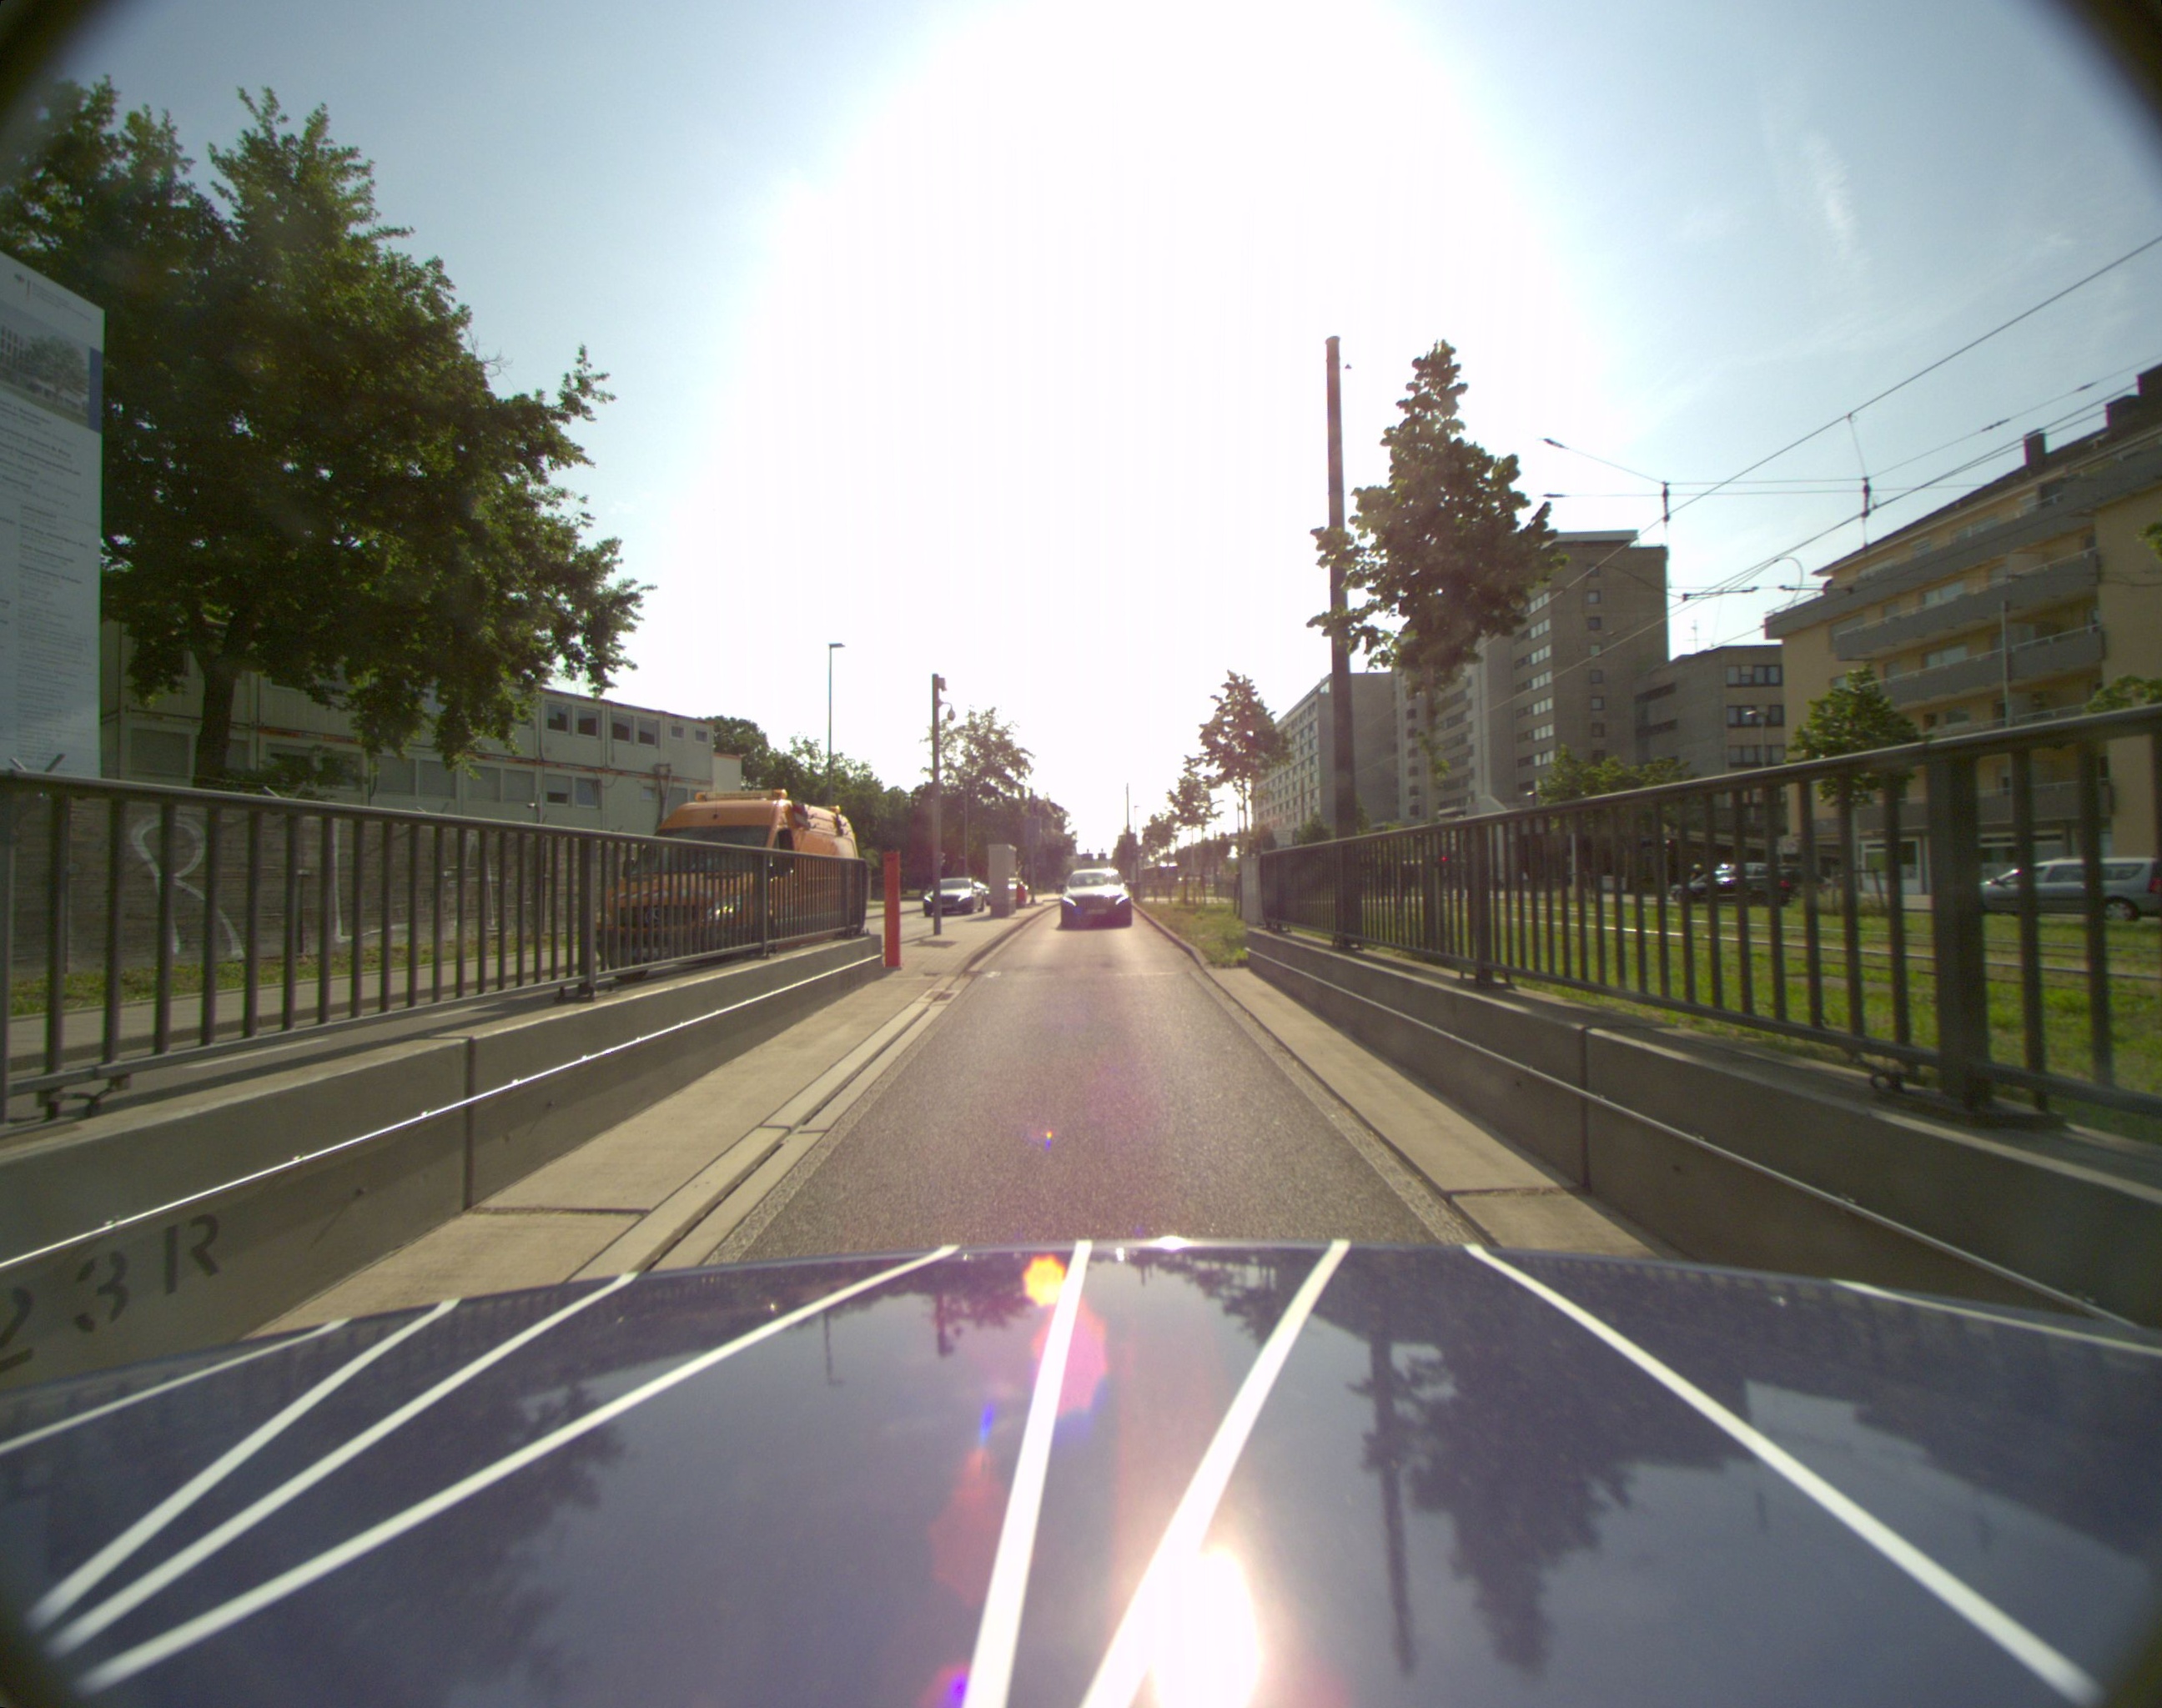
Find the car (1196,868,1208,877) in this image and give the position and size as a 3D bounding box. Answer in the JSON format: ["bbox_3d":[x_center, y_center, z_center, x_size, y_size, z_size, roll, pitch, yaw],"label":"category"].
[{"bbox_3d":[21.573,3.299,135.240,1.811,1.471,4.002,-1,-1,4],"label":"car"}]

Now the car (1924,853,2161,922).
[{"bbox_3d":[25.373,0.812,19.655,1.999,1.567,4.528,-1,-1,-2],"label":"car"}]

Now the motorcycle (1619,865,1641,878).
[{"bbox_3d":[44.967,1.447,62.252,0.494,1.011,1.947,-1,-1,2],"label":"motorcycle"}]

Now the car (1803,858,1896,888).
[{"bbox_3d":[44.722,1.110,44.247,3.632,1.573,1.710,-1,-4,-2],"label":"car"}]

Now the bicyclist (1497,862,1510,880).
[{"bbox_3d":[34.605,1.401,62.186,0.619,1.491,0.988,-2,-2,45],"label":"bicyclist"}]

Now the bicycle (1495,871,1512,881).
[{"bbox_3d":[34.564,1.825,62.120,2.007,0.788,0.627,0,-2,-45],"label":"bicycle"}]

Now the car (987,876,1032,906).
[{"bbox_3d":[-3.995,2.070,43.270,1.897,1.561,4.252,-3,-1,2],"label":"car"}]

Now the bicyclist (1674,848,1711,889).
[{"bbox_3d":[27.448,0.653,34.123,0.671,1.794,1.083,-1,-1,-4],"label":"bicyclist"}]

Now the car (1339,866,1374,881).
[{"bbox_3d":[31.929,2.276,87.914,4.119,1.596,1.875,0,-1,-38],"label":"car"}]

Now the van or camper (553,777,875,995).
[{"bbox_3d":[-5.154,0.430,12.011,1.991,2.457,6.062,-3,-1,0],"label":"van or camper"}]

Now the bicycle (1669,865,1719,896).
[{"bbox_3d":[27.476,1.185,34.099,0.696,1.338,1.757,-1,-1,-3],"label":"bicycle"}]

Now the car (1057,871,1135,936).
[{"bbox_3d":[0.444,1.189,19.749,1.759,1.436,4.619,-2,-1,2],"label":"car"}]

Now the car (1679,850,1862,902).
[{"bbox_3d":[22.513,0.715,25.094,1.999,1.504,4.399,-1,-1,0],"label":"car"}]

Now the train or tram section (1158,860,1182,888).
[{"bbox_3d":[11.191,2.505,95.668,2.500,3.408,6.672,-1,-1,3],"label":"train or tram section"}]

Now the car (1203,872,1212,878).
[{"bbox_3d":[34.088,5.617,204.178,1.847,1.658,4.002,-3,-1,3],"label":"car"}]

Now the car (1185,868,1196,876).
[{"bbox_3d":[22.325,3.755,154.778,1.811,1.564,4.002,-1,-1,4],"label":"car"}]

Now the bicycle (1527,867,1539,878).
[{"bbox_3d":[34.753,1.425,58.482,0.719,0.793,1.607,-4,-1,30],"label":"bicycle"}]

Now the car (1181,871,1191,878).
[{"bbox_3d":[22.426,4.429,162.793,1.811,1.465,4.002,-1,-1,4],"label":"car"}]

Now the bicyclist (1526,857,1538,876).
[{"bbox_3d":[34.644,0.961,58.353,0.686,1.431,0.807,-4,-2,30],"label":"bicyclist"}]

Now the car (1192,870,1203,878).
[{"bbox_3d":[21.885,3.730,142.917,1.745,1.478,3.642,-2,0,4],"label":"car"}]
